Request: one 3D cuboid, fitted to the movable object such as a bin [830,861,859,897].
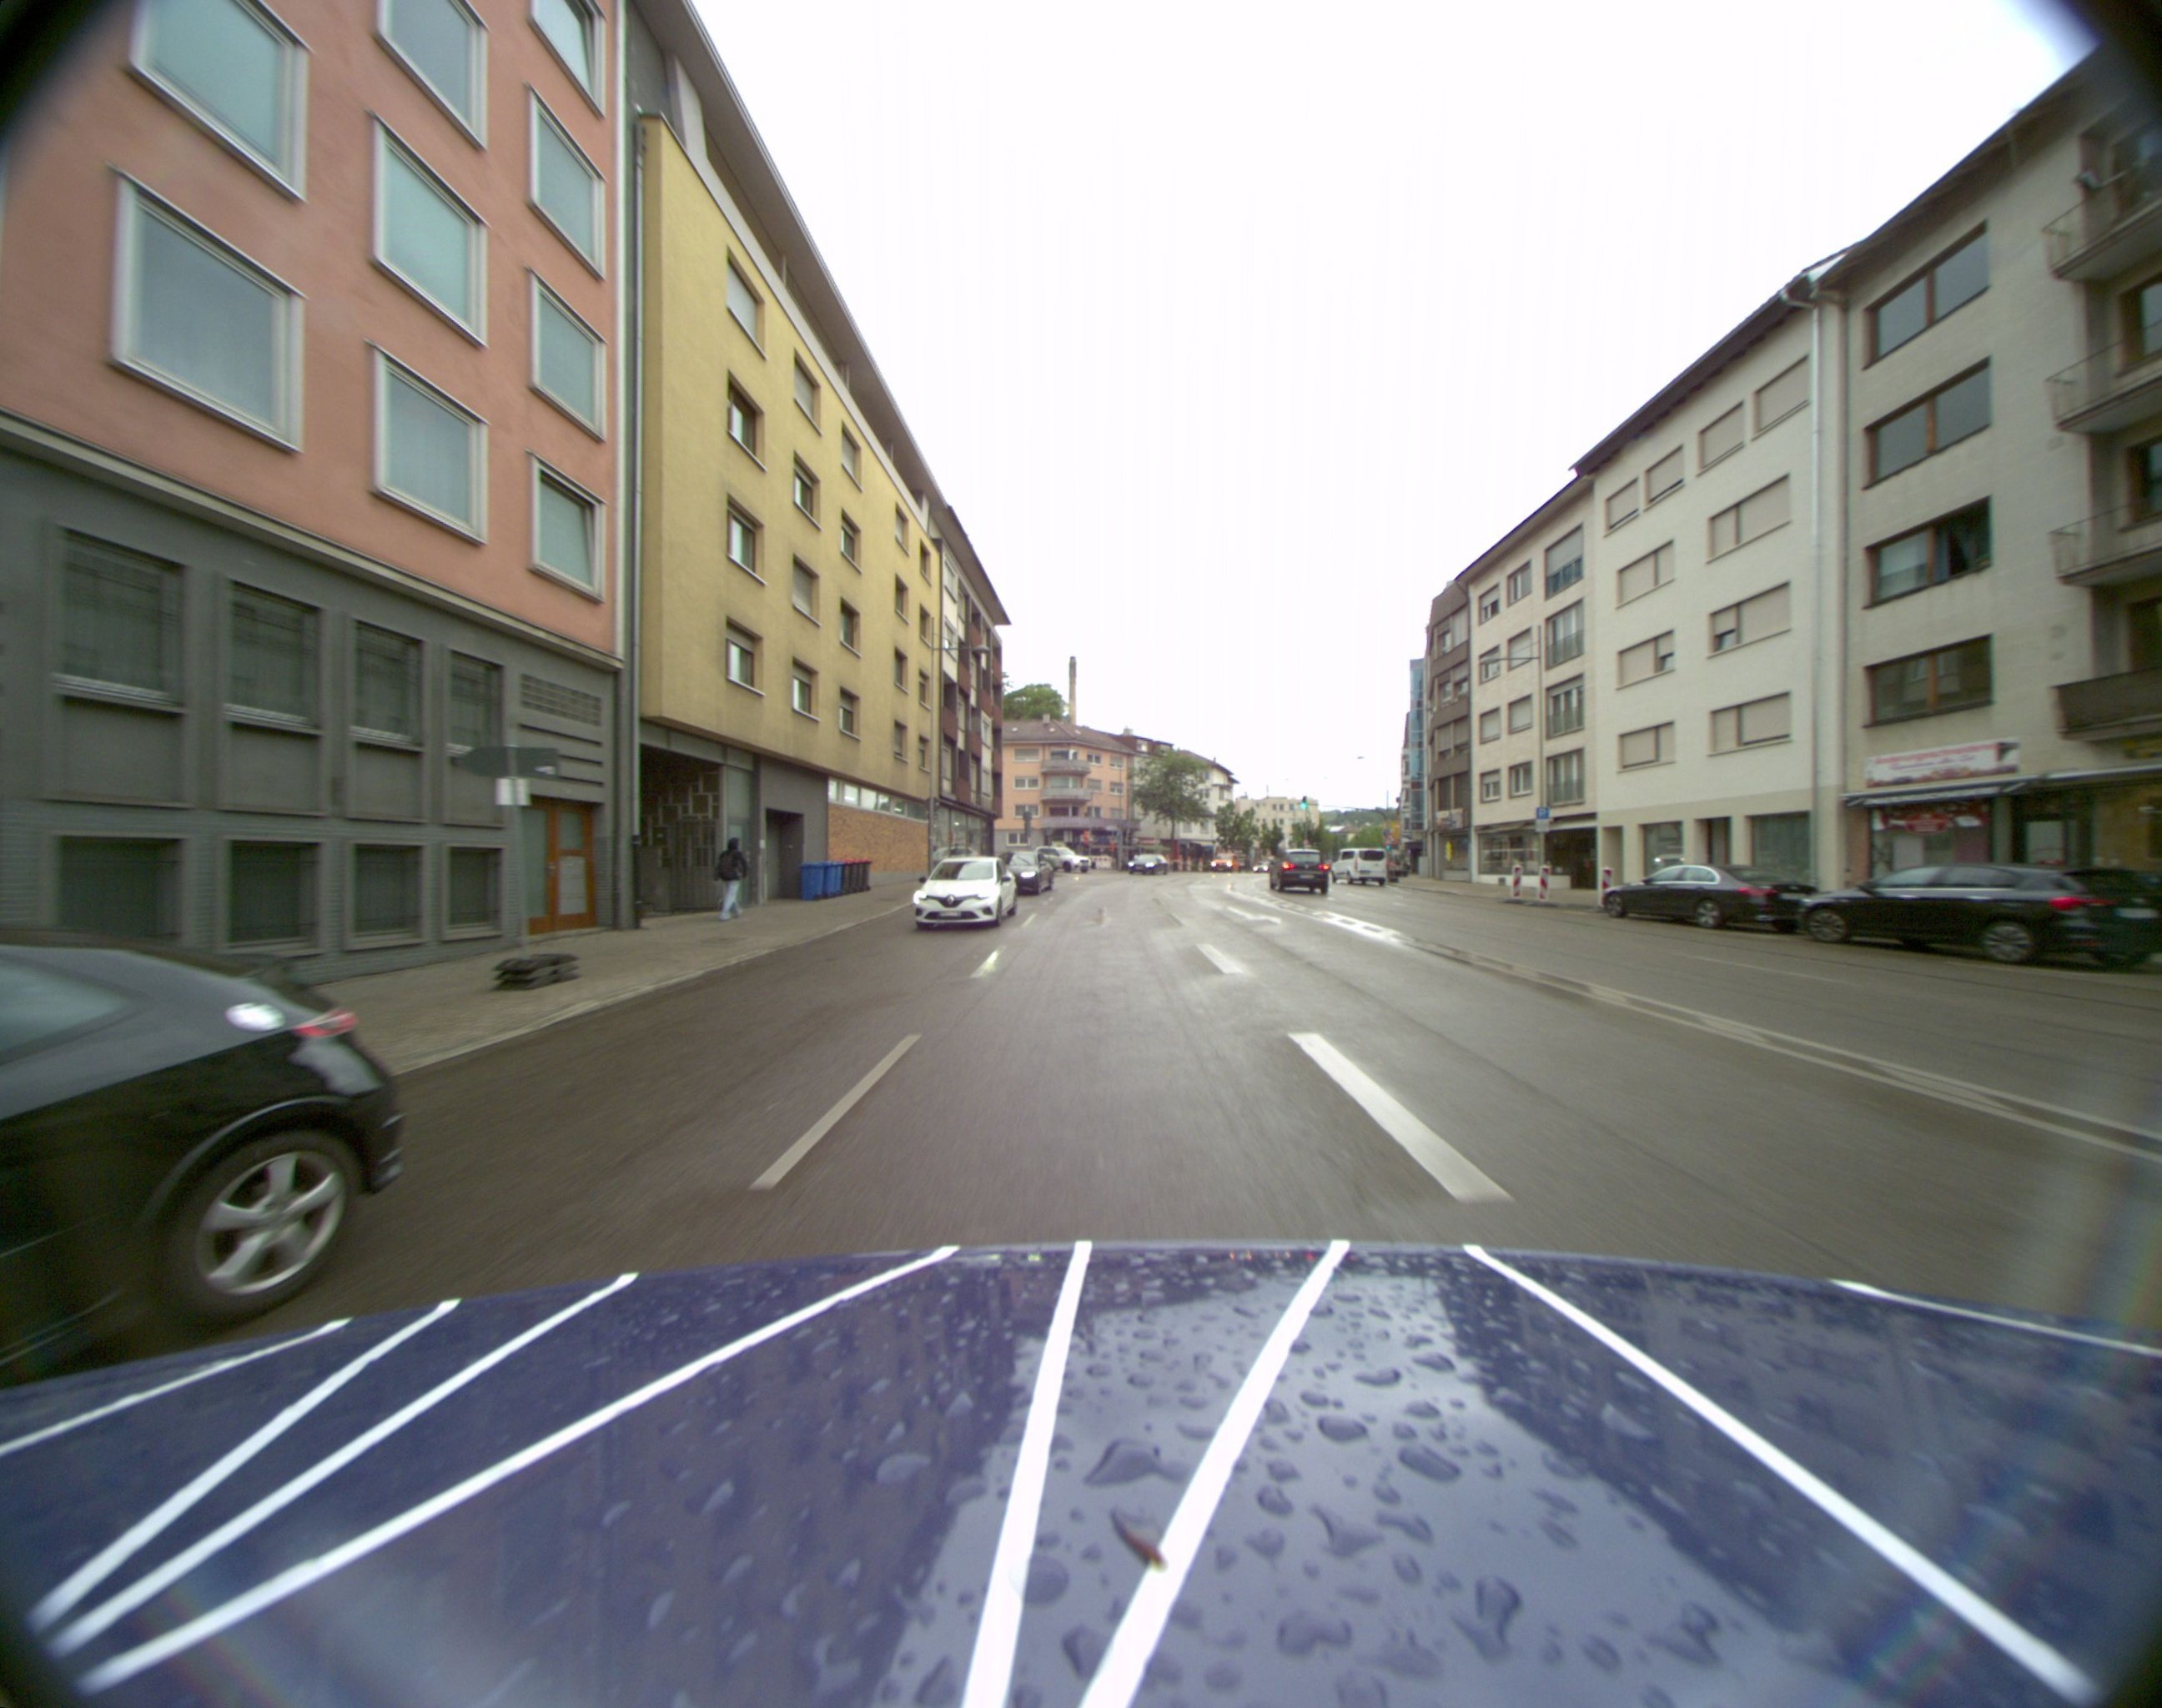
[{"bbox_3d":[-7.326,0.760,23.539,0.682,1.070,0.668,0,1,2],"label":"movable object such as a bin"}]

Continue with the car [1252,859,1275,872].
[{"bbox_3d":[21.502,1.359,89.527,1.840,1.433,4.007,-2,0,25],"label":"car"}]

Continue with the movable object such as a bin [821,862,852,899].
[{"bbox_3d":[-7.353,0.782,22.859,0.682,1.070,0.668,0,1,2],"label":"movable object such as a bin"}]

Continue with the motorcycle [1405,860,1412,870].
[{"bbox_3d":[37.775,1.312,87.545,0.669,1.081,2.199,-2,0,22],"label":"motorcycle"}]

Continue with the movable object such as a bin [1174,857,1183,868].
[{"bbox_3d":[9.005,0.808,70.052,0.621,1.025,0.532,2,-1,22],"label":"movable object such as a bin"}]

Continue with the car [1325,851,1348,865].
[{"bbox_3d":[27.965,0.446,83.155,1.985,1.451,4.493,2,1,23],"label":"car"}]

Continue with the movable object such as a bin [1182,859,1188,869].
[{"bbox_3d":[9.884,0.981,72.261,0.420,0.924,0.532,2,-1,22],"label":"movable object such as a bin"}]

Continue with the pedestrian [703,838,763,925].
[{"bbox_3d":[-7.424,0.572,16.253,0.674,1.777,1.095,-1,0,5],"label":"pedestrian"}]

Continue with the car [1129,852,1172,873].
[{"bbox_3d":[4.901,0.609,53.226,1.809,1.331,4.286,1,-1,22],"label":"car"}]

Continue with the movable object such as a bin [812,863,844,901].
[{"bbox_3d":[-7.377,0.802,22.174,0.682,1.070,0.668,0,1,2],"label":"movable object such as a bin"}]

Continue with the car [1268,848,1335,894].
[{"bbox_3d":[8.500,0.590,29.640,1.866,1.637,4.256,1,0,7],"label":"car"}]

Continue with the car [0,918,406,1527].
[{"bbox_3d":[-3.763,1.049,1.118,1.788,1.488,4.056,-2,0,2],"label":"car"}]

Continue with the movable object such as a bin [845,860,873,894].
[{"bbox_3d":[-7.270,0.747,24.913,0.682,1.070,0.668,0,1,2],"label":"movable object such as a bin"}]

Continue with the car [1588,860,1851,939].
[{"bbox_3d":[14.445,0.934,17.699,1.887,1.468,4.978,1,0,0],"label":"car"}]

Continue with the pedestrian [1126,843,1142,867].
[{"bbox_3d":[4.195,0.075,60.010,0.920,1.850,1.029,0,2,-18],"label":"pedestrian"}]

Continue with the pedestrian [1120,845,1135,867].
[{"bbox_3d":[3.603,0.181,58.820,0.822,1.679,0.792,0,3,-24],"label":"pedestrian"}]

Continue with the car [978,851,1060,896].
[{"bbox_3d":[-2.107,0.622,27.470,2.039,1.380,5.295,1,1,5],"label":"car"}]

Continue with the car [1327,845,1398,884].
[{"bbox_3d":[16.024,0.510,43.566,2.124,2.003,5.127,-3,1,0],"label":"car"}]

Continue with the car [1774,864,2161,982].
[{"bbox_3d":[14.380,0.956,12.385,1.999,1.468,4.518,1,0,-1],"label":"car"}]

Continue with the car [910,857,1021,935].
[{"bbox_3d":[-2.417,0.837,16.816,1.680,1.395,4.000,-1,1,2],"label":"car"}]

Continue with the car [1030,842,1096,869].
[{"bbox_3d":[-1.295,0.111,53.885,2.004,1.711,4.783,1,1,-42],"label":"car"}]

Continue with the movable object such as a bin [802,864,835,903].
[{"bbox_3d":[-7.415,0.817,21.474,0.682,1.070,0.668,0,1,2],"label":"movable object such as a bin"}]

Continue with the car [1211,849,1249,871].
[{"bbox_3d":[14.672,0.555,74.635,2.194,2.074,5.944,-1,0,26],"label":"car"}]

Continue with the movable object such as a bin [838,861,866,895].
[{"bbox_3d":[-7.292,0.748,24.226,0.682,1.070,0.668,0,1,2],"label":"movable object such as a bin"}]

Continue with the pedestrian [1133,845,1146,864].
[{"bbox_3d":[5.777,0.071,74.840,0.990,1.869,0.659,2,3,33],"label":"pedestrian"}]
